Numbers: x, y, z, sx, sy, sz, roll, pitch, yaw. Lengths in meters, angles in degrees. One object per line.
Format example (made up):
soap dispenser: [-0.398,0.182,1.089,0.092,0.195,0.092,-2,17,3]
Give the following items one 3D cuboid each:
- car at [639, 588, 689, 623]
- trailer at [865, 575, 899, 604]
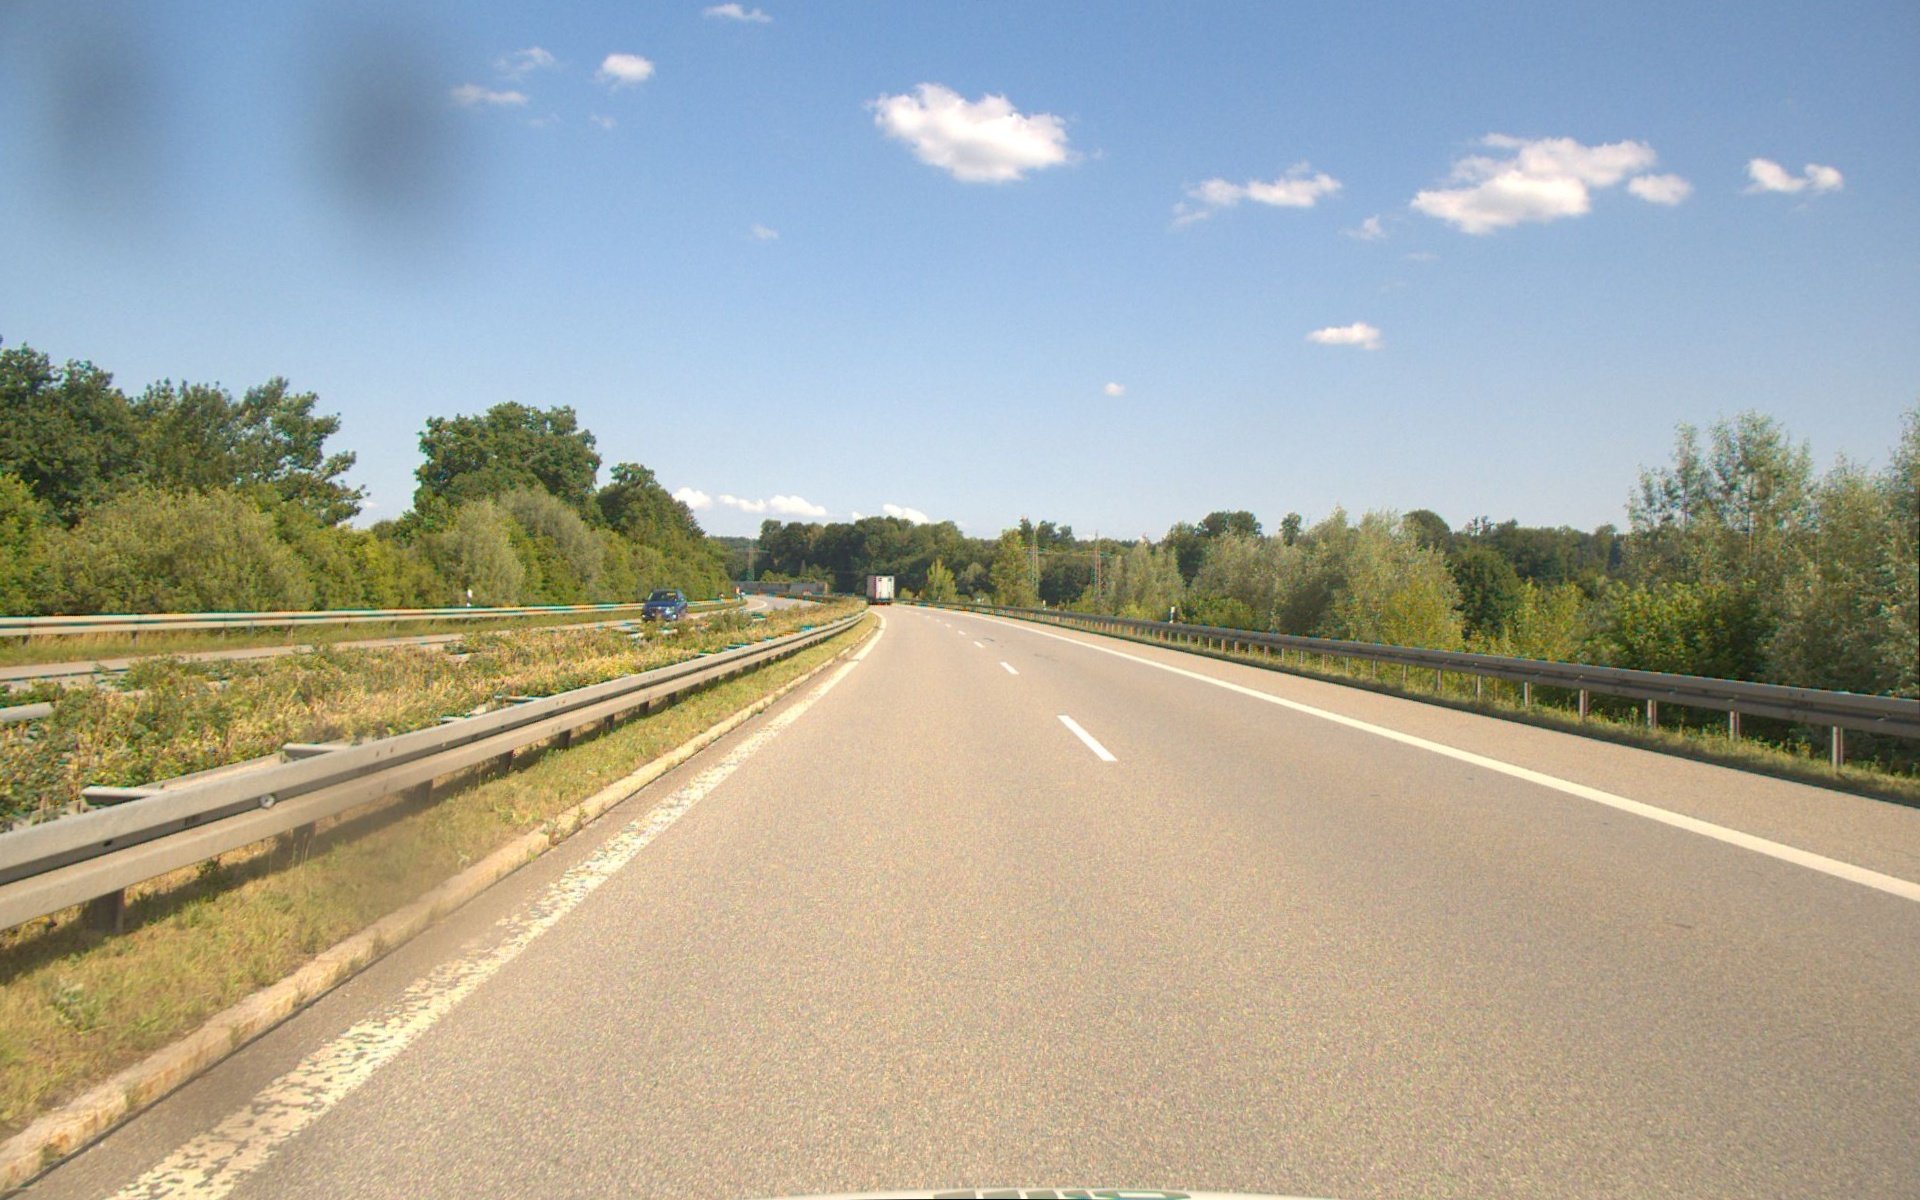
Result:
car: [-12.960,0.238,72.552,1.642,1.466,3.998,0,0,-2]
trailer: [-11.208,-1.523,235.540,2.834,4.137,12.381,0,1,-12]
